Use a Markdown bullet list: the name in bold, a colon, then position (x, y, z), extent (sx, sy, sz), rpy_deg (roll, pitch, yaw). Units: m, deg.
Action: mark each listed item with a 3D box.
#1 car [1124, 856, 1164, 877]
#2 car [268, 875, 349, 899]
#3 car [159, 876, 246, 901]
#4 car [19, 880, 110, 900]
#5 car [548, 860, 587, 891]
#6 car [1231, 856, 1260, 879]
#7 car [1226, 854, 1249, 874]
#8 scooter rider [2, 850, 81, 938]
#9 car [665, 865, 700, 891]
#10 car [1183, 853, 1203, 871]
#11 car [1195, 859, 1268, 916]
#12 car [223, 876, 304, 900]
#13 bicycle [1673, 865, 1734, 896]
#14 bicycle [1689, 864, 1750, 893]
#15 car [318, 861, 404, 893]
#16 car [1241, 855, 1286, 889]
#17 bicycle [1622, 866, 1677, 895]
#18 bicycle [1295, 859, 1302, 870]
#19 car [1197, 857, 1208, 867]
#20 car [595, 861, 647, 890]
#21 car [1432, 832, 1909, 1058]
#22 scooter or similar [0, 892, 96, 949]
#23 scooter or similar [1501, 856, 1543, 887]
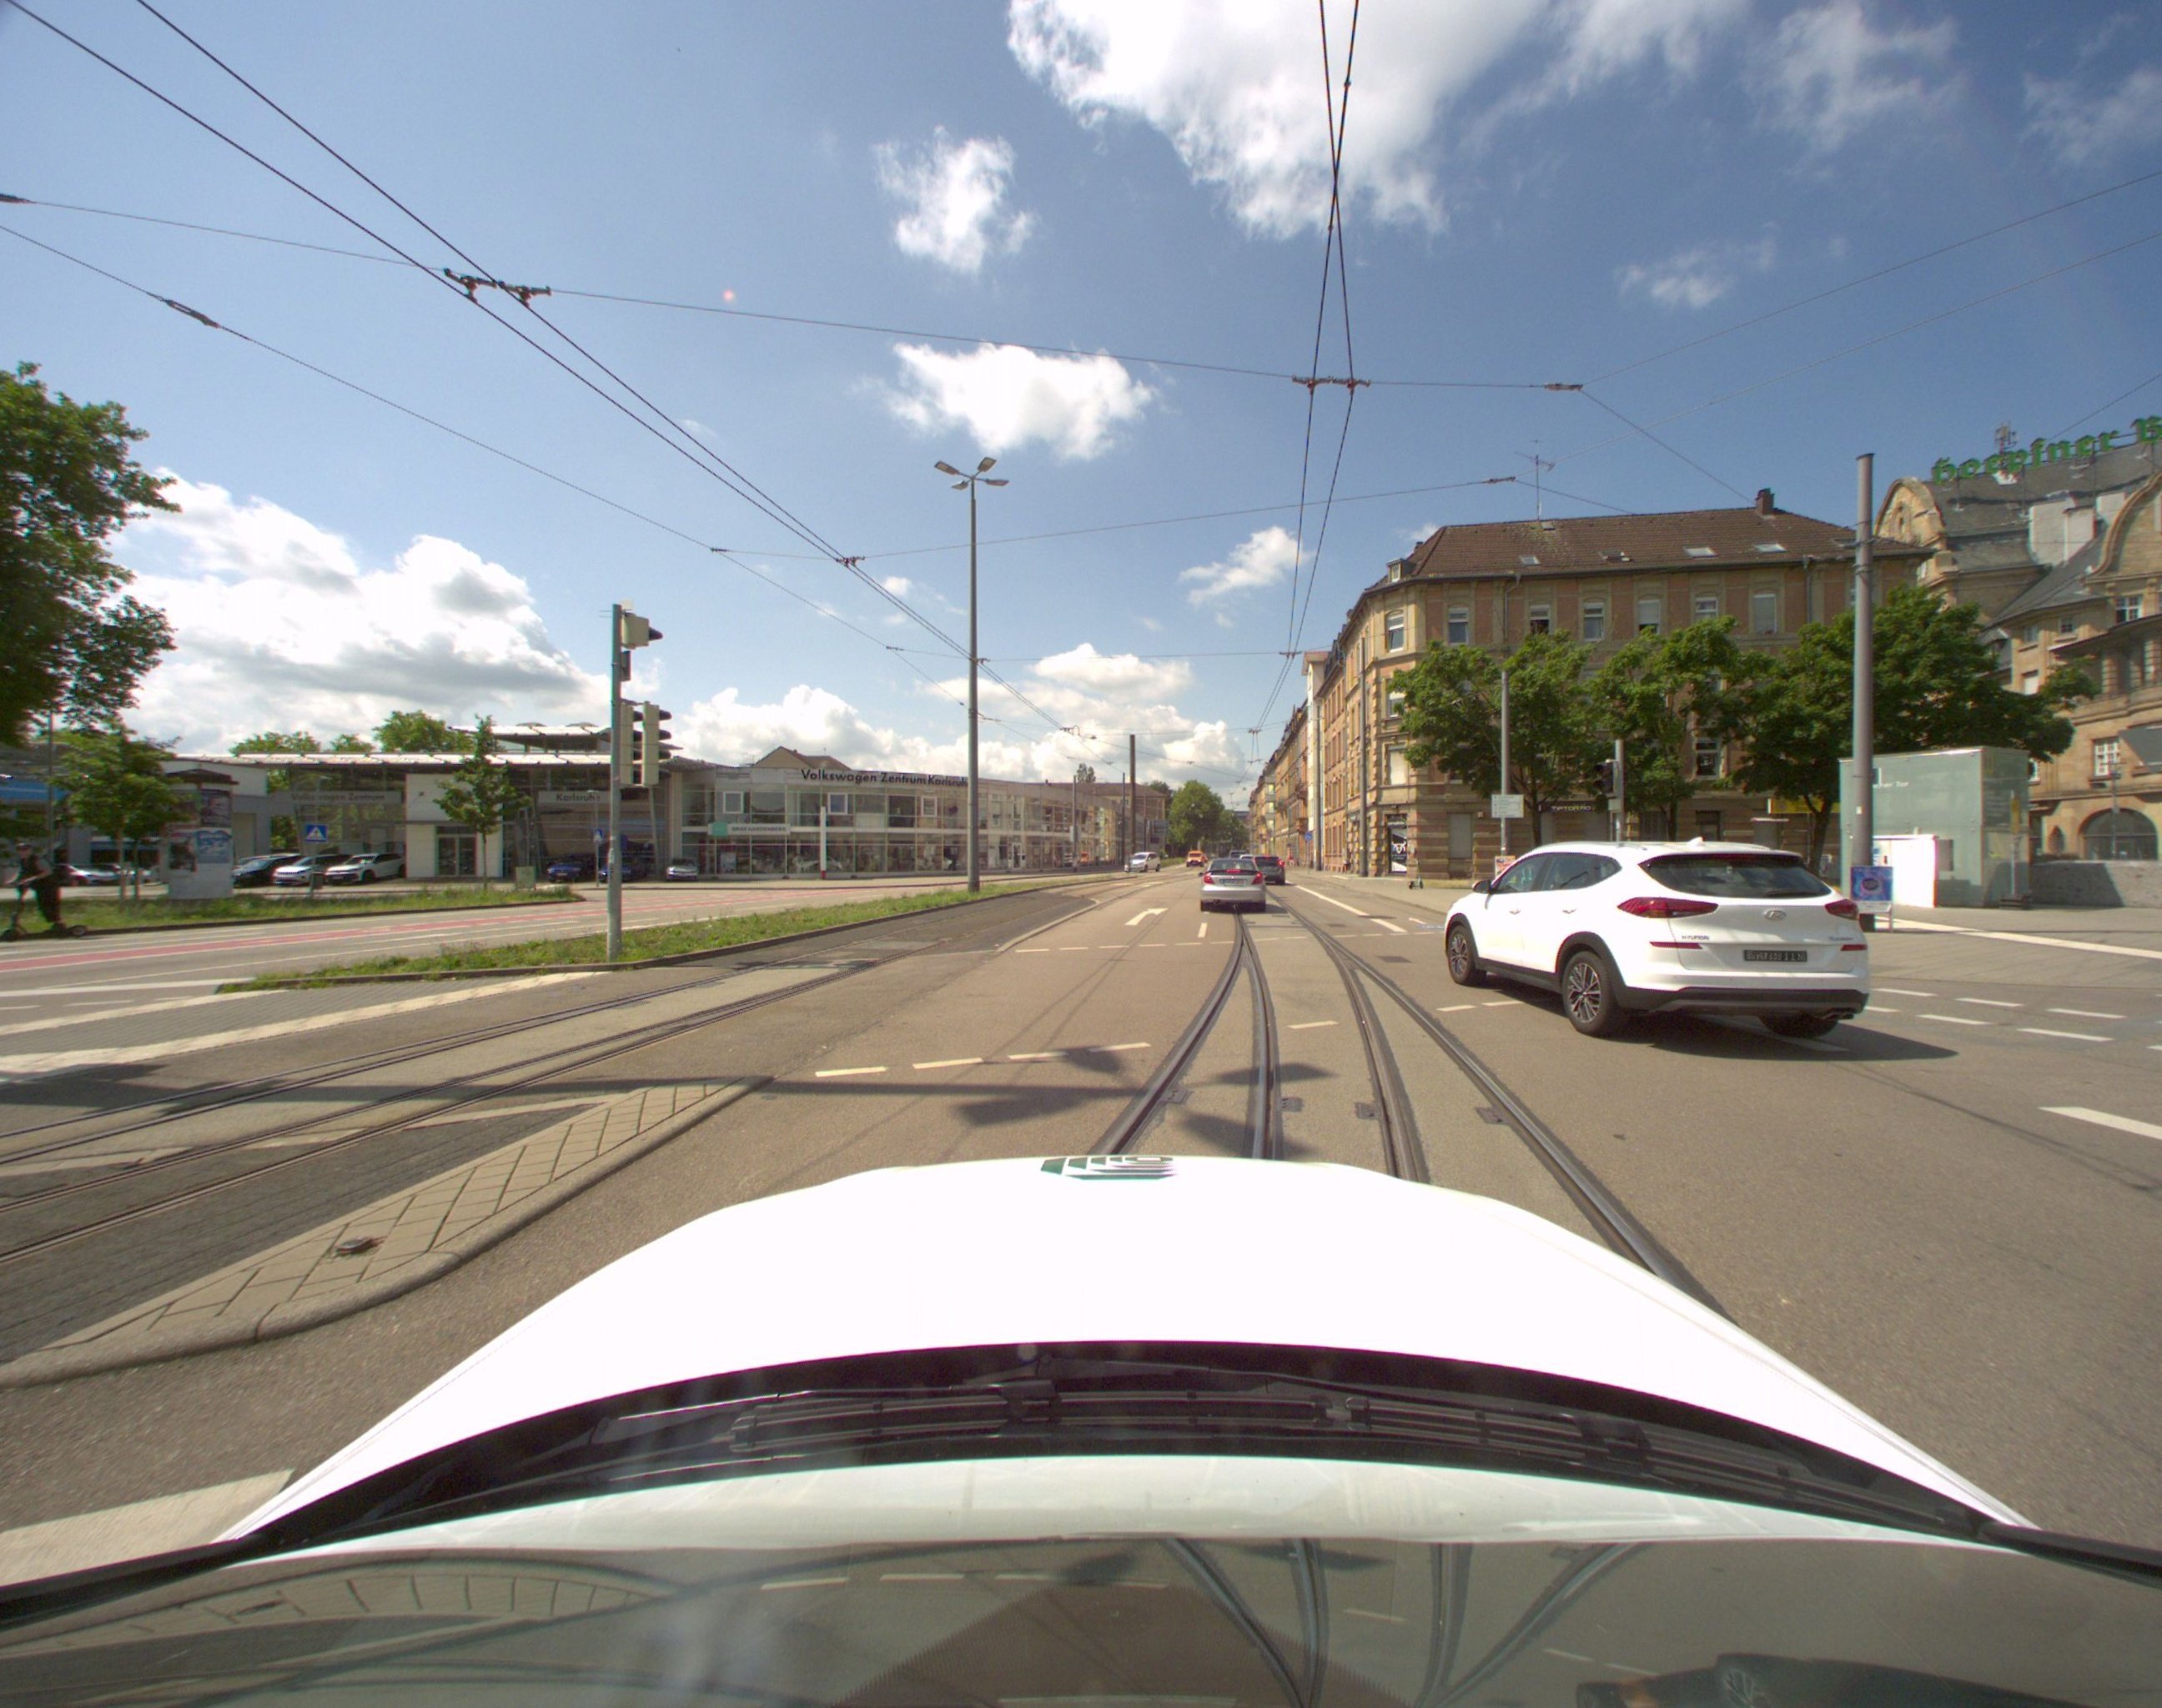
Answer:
- **car**: position (5.266, 1.044, 67.775), extent (1.750, 1.604, 4.519), rpy_deg (-2, -1, 25)
- **car**: position (-44.136, 1.882, 46.620), extent (1.552, 1.246, 3.627), rpy_deg (0, -1, -9)
- **car**: position (-49.153, 1.902, 45.660), extent (1.554, 1.246, 3.623), rpy_deg (0, -1, -13)
- **car**: position (-68.554, 2.445, 54.970), extent (3.629, 1.246, 1.551), rpy_deg (0, -1, -12)
- **car**: position (-29.918, 1.230, 47.396), extent (1.784, 1.673, 3.600), rpy_deg (0, -1, -34)
- **car**: position (11.134, 0.877, 55.173), extent (1.803, 1.524, 3.966), rpy_deg (0, 0, 9)
- **car**: position (13.464, 0.860, 70.126), extent (1.803, 1.662, 4.096), rpy_deg (-1, -1, 9)
- **scooter rider**: position (-20.580, 0.781, 16.131), extent (0.772, 1.707, 0.651), rpy_deg (-1, -1, 9)
- **car**: position (-24.300, 1.436, 49.640), extent (1.839, 1.447, 3.913), rpy_deg (0, -1, -26)
- **car**: position (12.629, 0.898, 91.382), extent (1.899, 1.866, 4.380), rpy_deg (-2, -1, 11)
- **car**: position (4.062, 0.845, 22.503), extent (1.804, 1.420, 4.196), rpy_deg (0, 0, 8)
- **car**: position (-46.380, 1.901, 46.308), extent (1.554, 1.246, 3.623), rpy_deg (0, -1, -13)
- **bicycle**: position (23.691, 0.983, 31.072), extent (0.786, 1.091, 2.582), rpy_deg (-2, -1, 12)
- **bicycle**: position (24.655, 0.939, 31.517), extent (0.786, 1.054, 2.582), rpy_deg (-2, -1, 12)
- **car**: position (-41.476, 1.274, 47.038), extent (1.692, 1.774, 3.859), rpy_deg (0, -1, -4)
- **car**: position (8.931, 0.855, 40.114), extent (1.804, 1.524, 4.094), rpy_deg (-1, 0, 8)
- **bicycle**: position (21.999, 1.013, 31.567), extent (0.786, 1.070, 2.582), rpy_deg (-2, -1, 12)
- **bicycle**: position (23.022, 1.113, 86.218), extent (0.583, 1.178, 2.211), rpy_deg (-1, -1, 11)
- **car**: position (18.878, 1.268, 126.657), extent (1.692, 1.428, 3.911), rpy_deg (-1, -1, 9)
- **car**: position (-26.743, 1.231, 47.490), extent (1.657, 1.473, 3.771), rpy_deg (0, 2, -13)
- **car**: position (5.182, 0.660, 8.018), extent (1.844, 1.634, 4.184), rpy_deg (-1, 0, 3)
- **scooter or similar**: position (-20.583, 1.298, 16.127), extent (0.799, 1.032, 1.095), rpy_deg (-1, -1, 9)
- **scooter or similar**: position (17.629, 0.705, 32.595), extent (0.944, 1.203, 1.391), rpy_deg (-1, -1, 3)
